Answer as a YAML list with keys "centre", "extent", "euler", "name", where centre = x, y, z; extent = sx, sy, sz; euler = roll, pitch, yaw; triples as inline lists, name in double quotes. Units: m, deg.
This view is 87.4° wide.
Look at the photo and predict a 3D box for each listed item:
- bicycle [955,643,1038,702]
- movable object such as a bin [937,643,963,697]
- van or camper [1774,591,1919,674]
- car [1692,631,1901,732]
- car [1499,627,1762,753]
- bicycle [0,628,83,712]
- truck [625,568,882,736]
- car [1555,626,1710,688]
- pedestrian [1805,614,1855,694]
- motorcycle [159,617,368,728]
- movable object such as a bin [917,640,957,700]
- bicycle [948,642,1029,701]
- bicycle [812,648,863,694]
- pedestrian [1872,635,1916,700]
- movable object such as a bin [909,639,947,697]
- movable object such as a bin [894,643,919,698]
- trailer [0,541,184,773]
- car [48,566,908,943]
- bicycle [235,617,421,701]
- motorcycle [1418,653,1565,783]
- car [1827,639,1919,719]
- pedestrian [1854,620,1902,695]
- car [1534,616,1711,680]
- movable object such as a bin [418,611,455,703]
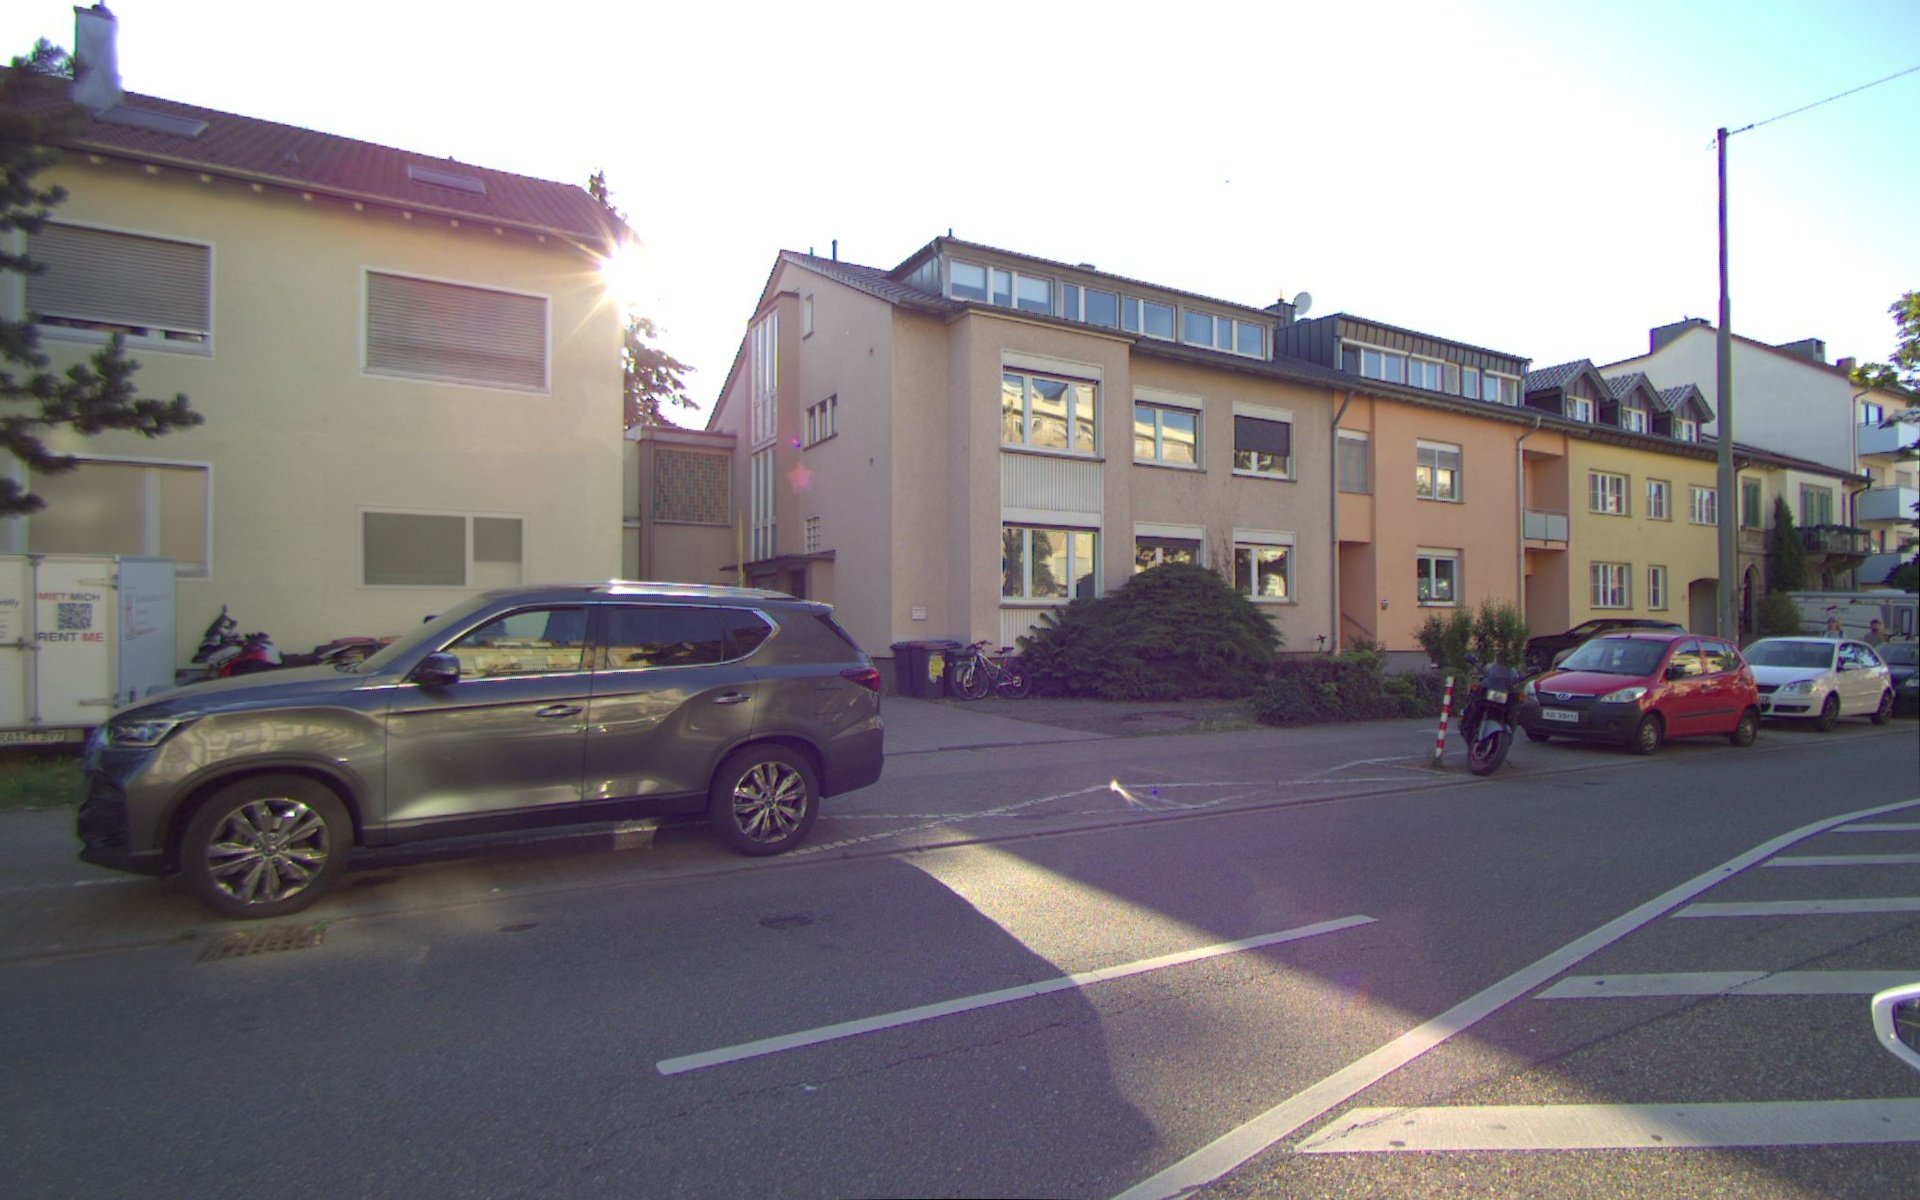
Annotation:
- centre: [0.719, 1.383, 19.339]
  extent: [1.691, 1.100, 0.331]
  euler: [1, -2, -31]
  name: "bicycle"
- centre: [-0.195, 1.369, 19.785]
  extent: [0.345, 1.051, 0.433]
  euler: [1, -2, -30]
  name: "movable object such as a bin"
- centre: [33.400, 1.141, 35.504]
  extent: [2.324, 2.810, 6.764]
  euler: [1, 0, -30]
  name: "van or camper"
- centre: [14.320, 1.315, 17.156]
  extent: [3.847, 1.543, 1.585]
  euler: [1, -2, -31]
  name: "car"
- centre: [9.221, 1.154, 13.799]
  extent: [3.392, 1.543, 1.587]
  euler: [1, -2, -28]
  name: "car"
- centre: [-12.736, 0.900, 12.981]
  extent: [2.022, 1.078, 0.516]
  euler: [1, -2, -31]
  name: "bicycle"
- centre: [-3.769, 0.788, 16.836]
  extent: [2.249, 2.214, 6.864]
  euler: [1, -2, -29]
  name: "truck"
- centre: [16.595, 1.385, 24.780]
  extent: [3.706, 1.427, 1.658]
  euler: [1, -3, -29]
  name: "car"
- centre: [19.965, 1.230, 23.068]
  extent: [0.499, 1.816, 0.711]
  euler: [1, -2, -27]
  name: "pedestrian"
- centre: [-9.243, 0.942, 13.462]
  extent: [2.232, 1.392, 0.568]
  euler: [1, -2, -31]
  name: "motorcycle"
- centre: [-0.433, 1.302, 18.871]
  extent: [0.579, 1.105, 0.486]
  euler: [1, -2, -30]
  name: "movable object such as a bin"
- centre: [0.571, 1.382, 19.687]
  extent: [1.691, 1.100, 0.331]
  euler: [1, -2, -31]
  name: "bicycle"
- centre: [-2.634, 1.533, 21.503]
  extent: [0.582, 0.942, 1.589]
  euler: [1, -5, -27]
  name: "bicycle"
- centre: [22.108, 1.590, 23.776]
  extent: [0.535, 1.515, 0.588]
  euler: [1, -2, -27]
  name: "pedestrian"
- centre: [-0.623, 1.304, 19.504]
  extent: [0.579, 1.105, 0.486]
  euler: [1, -2, -30]
  name: "movable object such as a bin"
- centre: [-1.050, 1.369, 19.583]
  extent: [0.285, 1.051, 0.501]
  euler: [1, -2, -30]
  name: "movable object such as a bin"
- centre: [-9.000, 0.538, 10.123]
  extent: [1.535, 2.040, 2.758]
  euler: [1, -2, -32]
  name: "trailer"
- centre: [-2.845, 0.805, 6.856]
  extent: [4.673, 1.802, 1.877]
  euler: [1, -2, -32]
  name: "car"
- centre: [-9.137, 0.833, 14.634]
  extent: [2.232, 1.156, 0.567]
  euler: [1, -1, -31]
  name: "bicycle"
- centre: [6.160, 1.270, 11.550]
  extent: [1.164, 1.282, 2.362]
  euler: [-1, -2, 36]
  name: "motorcycle"
- centre: [18.462, 1.461, 19.401]
  extent: [3.623, 1.415, 1.536]
  euler: [1, -2, -30]
  name: "car"
- centre: [22.614, 1.413, 24.749]
  extent: [0.564, 1.816, 0.711]
  euler: [1, -2, -27]
  name: "pedestrian"
- centre: [19.445, 1.365, 29.661]
  extent: [1.843, 1.658, 3.970]
  euler: [1, 0, -28]
  name: "car"
- centre: [-8.009, 0.861, 15.362]
  extent: [0.480, 1.376, 0.478]
  euler: [1, -2, -29]
  name: "movable object such as a bin"
